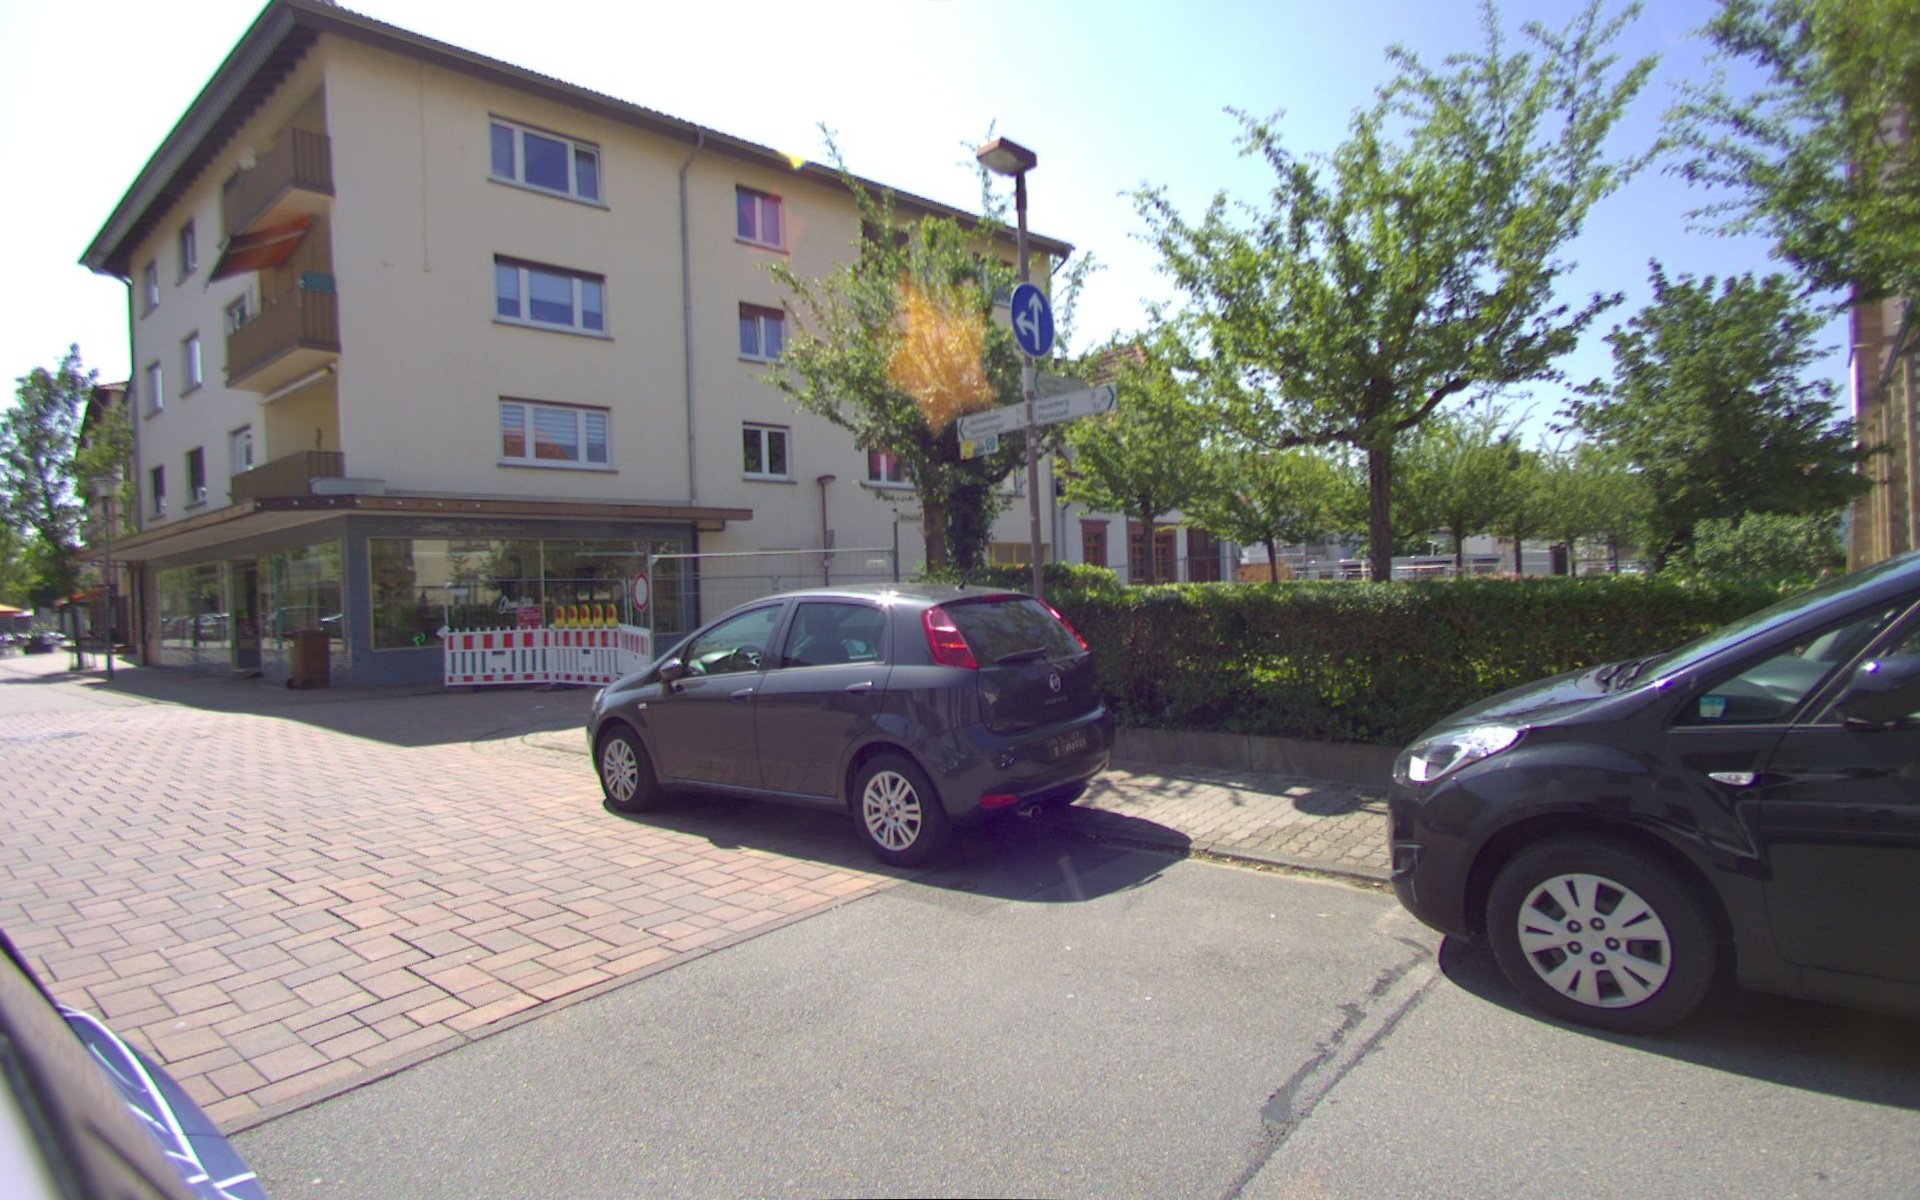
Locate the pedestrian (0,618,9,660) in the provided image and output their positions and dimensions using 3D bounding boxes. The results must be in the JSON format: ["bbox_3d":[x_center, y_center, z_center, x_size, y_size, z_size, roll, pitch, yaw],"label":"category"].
[{"bbox_3d":[-42.228,1.710,44.084,0.748,1.794,0.872,-2,0,-10],"label":"pedestrian"}]

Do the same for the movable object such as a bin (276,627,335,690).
[{"bbox_3d":[-11.820,1.040,18.285,0.662,1.078,0.649,-2,1,35],"label":"movable object such as a bin"}]

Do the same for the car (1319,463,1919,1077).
[{"bbox_3d":[3.428,0.416,3.043,4.023,1.617,1.796,-2,0,42],"label":"car"}]

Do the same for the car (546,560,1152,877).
[{"bbox_3d":[-0.880,0.595,6.671,3.851,1.508,1.686,-2,0,37],"label":"car"}]
